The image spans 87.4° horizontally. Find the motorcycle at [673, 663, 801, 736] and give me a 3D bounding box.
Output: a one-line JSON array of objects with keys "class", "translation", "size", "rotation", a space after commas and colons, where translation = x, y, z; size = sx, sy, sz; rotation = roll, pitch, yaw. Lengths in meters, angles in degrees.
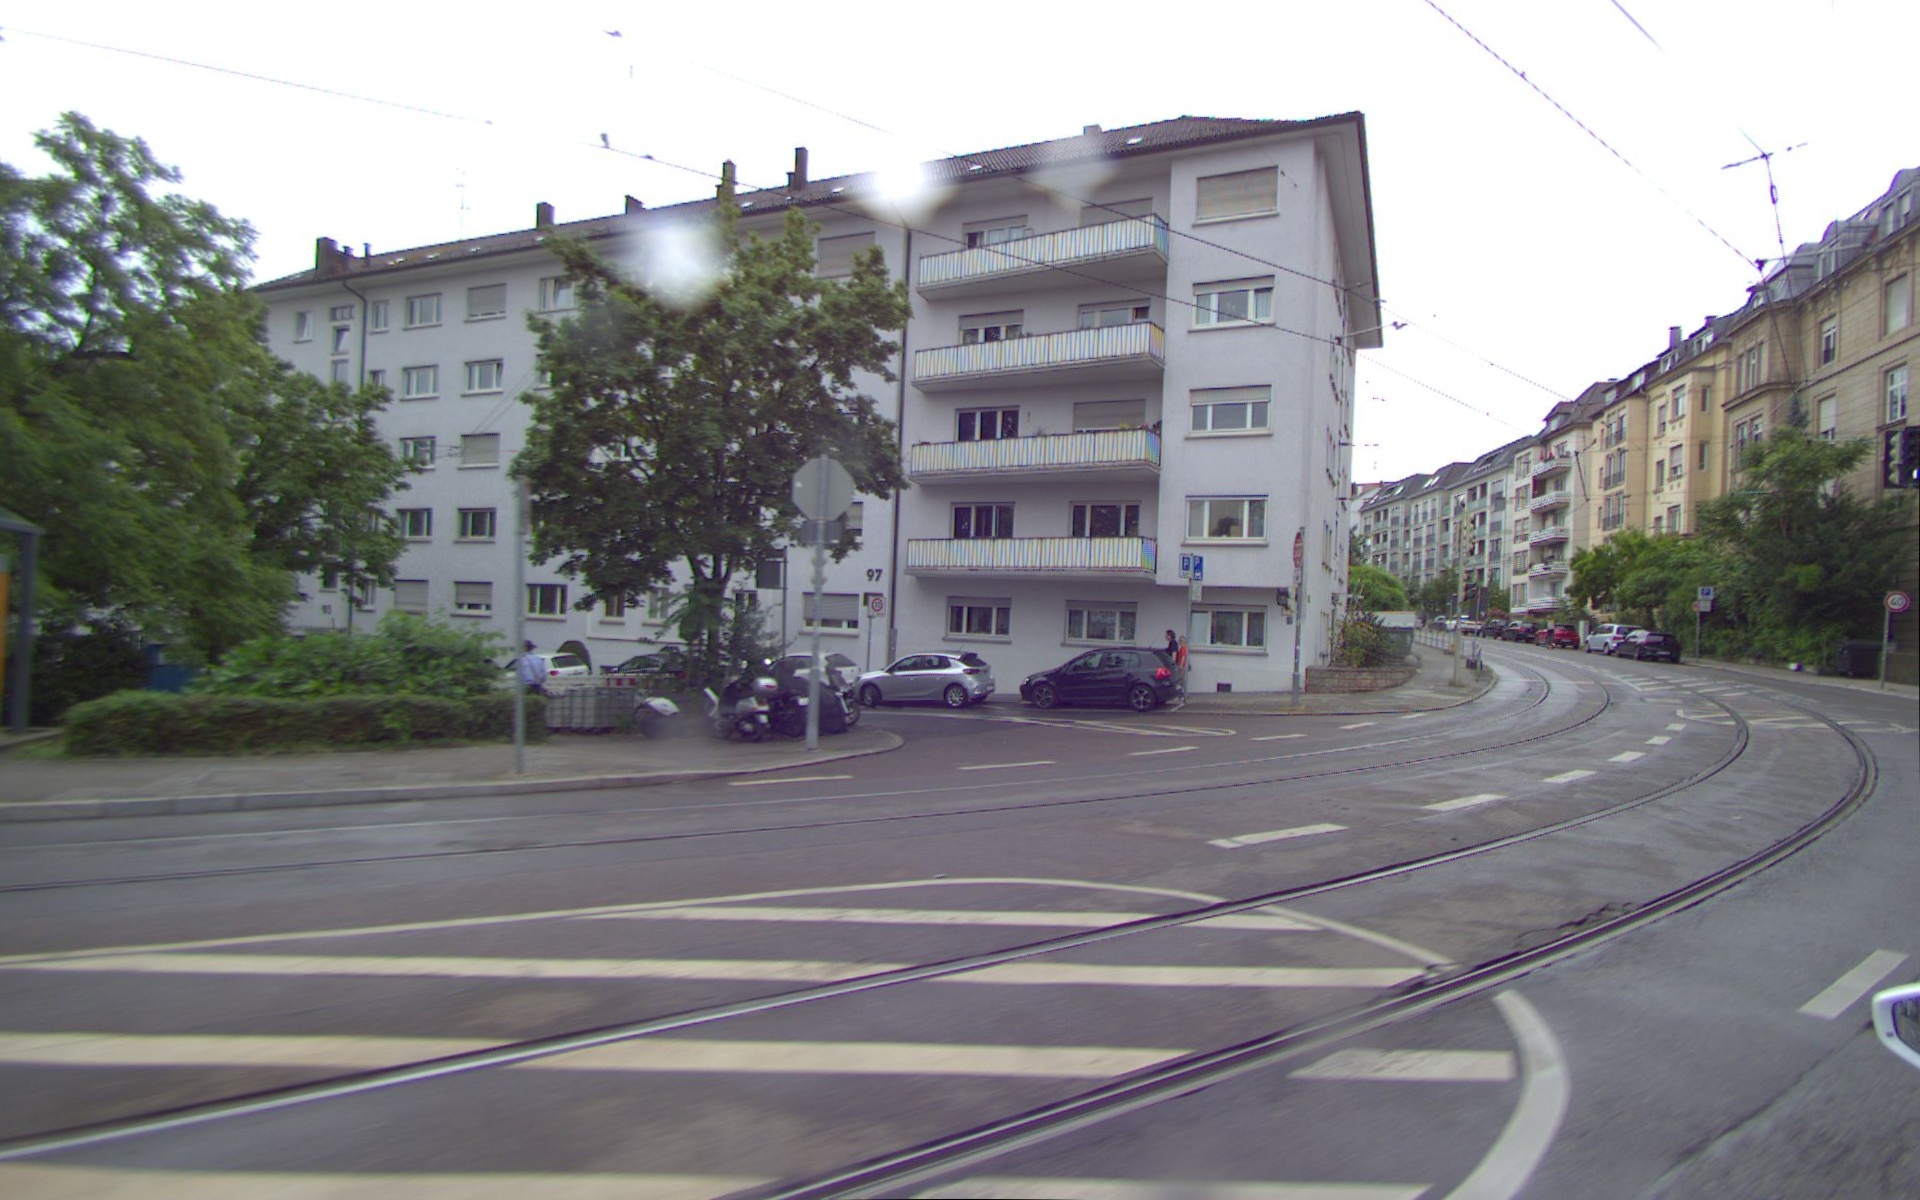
[{"class": "motorcycle", "translation": [-3.705, 1.636, 16.651], "size": [2.081, 1.063, 0.485], "rotation": [1, 1, 17]}]

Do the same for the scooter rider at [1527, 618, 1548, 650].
[{"class": "scooter rider", "translation": [33.206, 1.943, 57.753], "size": [0.612, 1.728, 0.844], "rotation": [6, 2, 6]}]

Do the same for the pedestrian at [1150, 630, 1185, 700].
[{"class": "pedestrian", "translation": [5.385, 1.674, 26.096], "size": [0.731, 1.723, 0.673], "rotation": [1, 2, 24]}]

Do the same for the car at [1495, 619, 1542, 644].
[{"class": "car", "translation": [38.524, 2.149, 69.338], "size": [1.655, 1.456, 4.066], "rotation": [4, 1, 13]}]

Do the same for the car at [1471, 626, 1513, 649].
[{"class": "car", "translation": [39.683, 2.755, 75.021], "size": [1.530, 1.456, 4.306], "rotation": [4, 1, 11]}]

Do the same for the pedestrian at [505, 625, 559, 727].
[{"class": "pedestrian", "translation": [-7.369, 1.286, 17.280], "size": [0.766, 1.706, 0.566], "rotation": [2, -2, -29]}]

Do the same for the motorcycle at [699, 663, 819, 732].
[{"class": "motorcycle", "translation": [-3.518, 1.688, 17.537], "size": [2.081, 1.063, 0.485], "rotation": [1, 2, 17]}]

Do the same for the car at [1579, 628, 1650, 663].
[{"class": "car", "translation": [34.450, 2.350, 53.016], "size": [1.736, 1.625, 4.290], "rotation": [2, 0, 13]}]

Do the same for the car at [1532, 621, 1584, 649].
[{"class": "car", "translation": [36.622, 2.101, 61.628], "size": [1.693, 1.456, 3.842], "rotation": [4, 1, 15]}]

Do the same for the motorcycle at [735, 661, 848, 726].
[{"class": "motorcycle", "translation": [-3.130, 1.721, 18.632], "size": [2.081, 1.063, 0.485], "rotation": [1, 2, 17]}]

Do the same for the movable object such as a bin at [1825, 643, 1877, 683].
[{"class": "movable object such as a bin", "translation": [34.219, 2.418, 38.575], "size": [1.204, 1.422, 0.823], "rotation": [1, 2, 11]}]

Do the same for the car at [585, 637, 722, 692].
[{"class": "car", "translation": [-9.358, 1.943, 30.697], "size": [3.676, 1.460, 1.704], "rotation": [1, -1, 22]}]

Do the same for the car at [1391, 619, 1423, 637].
[{"class": "car", "translation": [44.198, 2.751, 99.455], "size": [1.633, 1.491, 4.510], "rotation": [5, 0, 8]}]

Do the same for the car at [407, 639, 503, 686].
[{"class": "car", "translation": [-17.447, 2.136, 34.693], "size": [3.005, 1.460, 1.394], "rotation": [1, -1, 26]}]

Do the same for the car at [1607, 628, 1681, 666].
[{"class": "car", "translation": [32.849, 2.209, 48.349], "size": [1.736, 1.409, 4.000], "rotation": [4, 2, 17]}]

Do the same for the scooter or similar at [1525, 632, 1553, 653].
[{"class": "scooter or similar", "translation": [33.176, 2.444, 57.597], "size": [0.505, 1.063, 2.009], "rotation": [5, 1, 6]}]

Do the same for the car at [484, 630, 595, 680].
[{"class": "car", "translation": [-13.806, 1.781, 32.976], "size": [3.262, 1.460, 1.525], "rotation": [1, -1, 26]}]

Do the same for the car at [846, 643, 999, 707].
[{"class": "car", "translation": [-1.014, 1.987, 27.275], "size": [3.816, 1.474, 1.653], "rotation": [1, 1, 22]}]

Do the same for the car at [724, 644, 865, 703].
[{"class": "car", "translation": [-4.748, 2.072, 28.858], "size": [3.676, 1.460, 1.619], "rotation": [1, -1, 22]}]

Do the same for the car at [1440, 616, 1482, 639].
[{"class": "car", "translation": [41.564, 2.256, 83.461], "size": [1.806, 1.594, 4.250], "rotation": [5, 1, 9]}]

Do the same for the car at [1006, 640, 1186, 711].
[{"class": "car", "translation": [3.438, 1.839, 25.386], "size": [4.171, 1.474, 1.854], "rotation": [1, 1, 25]}]

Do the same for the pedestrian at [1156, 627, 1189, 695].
[{"class": "pedestrian", "translation": [5.656, 1.610, 26.729], "size": [0.731, 1.723, 0.673], "rotation": [1, 2, 24]}]

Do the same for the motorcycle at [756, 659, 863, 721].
[{"class": "motorcycle", "translation": [-2.962, 1.757, 19.775], "size": [2.081, 1.063, 0.485], "rotation": [1, 2, 17]}]

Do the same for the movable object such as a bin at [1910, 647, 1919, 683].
[{"class": "movable object such as a bin", "translation": [36.945, 2.482, 37.876], "size": [1.197, 1.326, 1.168], "rotation": [1, 0, 18]}]

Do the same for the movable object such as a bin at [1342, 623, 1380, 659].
[{"class": "movable object such as a bin", "translation": [16.185, 1.635, 40.565], "size": [1.347, 1.354, 1.324], "rotation": [1, 1, 24]}]

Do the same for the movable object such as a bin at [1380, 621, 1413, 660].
[{"class": "movable object such as a bin", "translation": [17.378, 1.594, 40.021], "size": [1.166, 1.481, 1.289], "rotation": [1, 1, 24]}]
